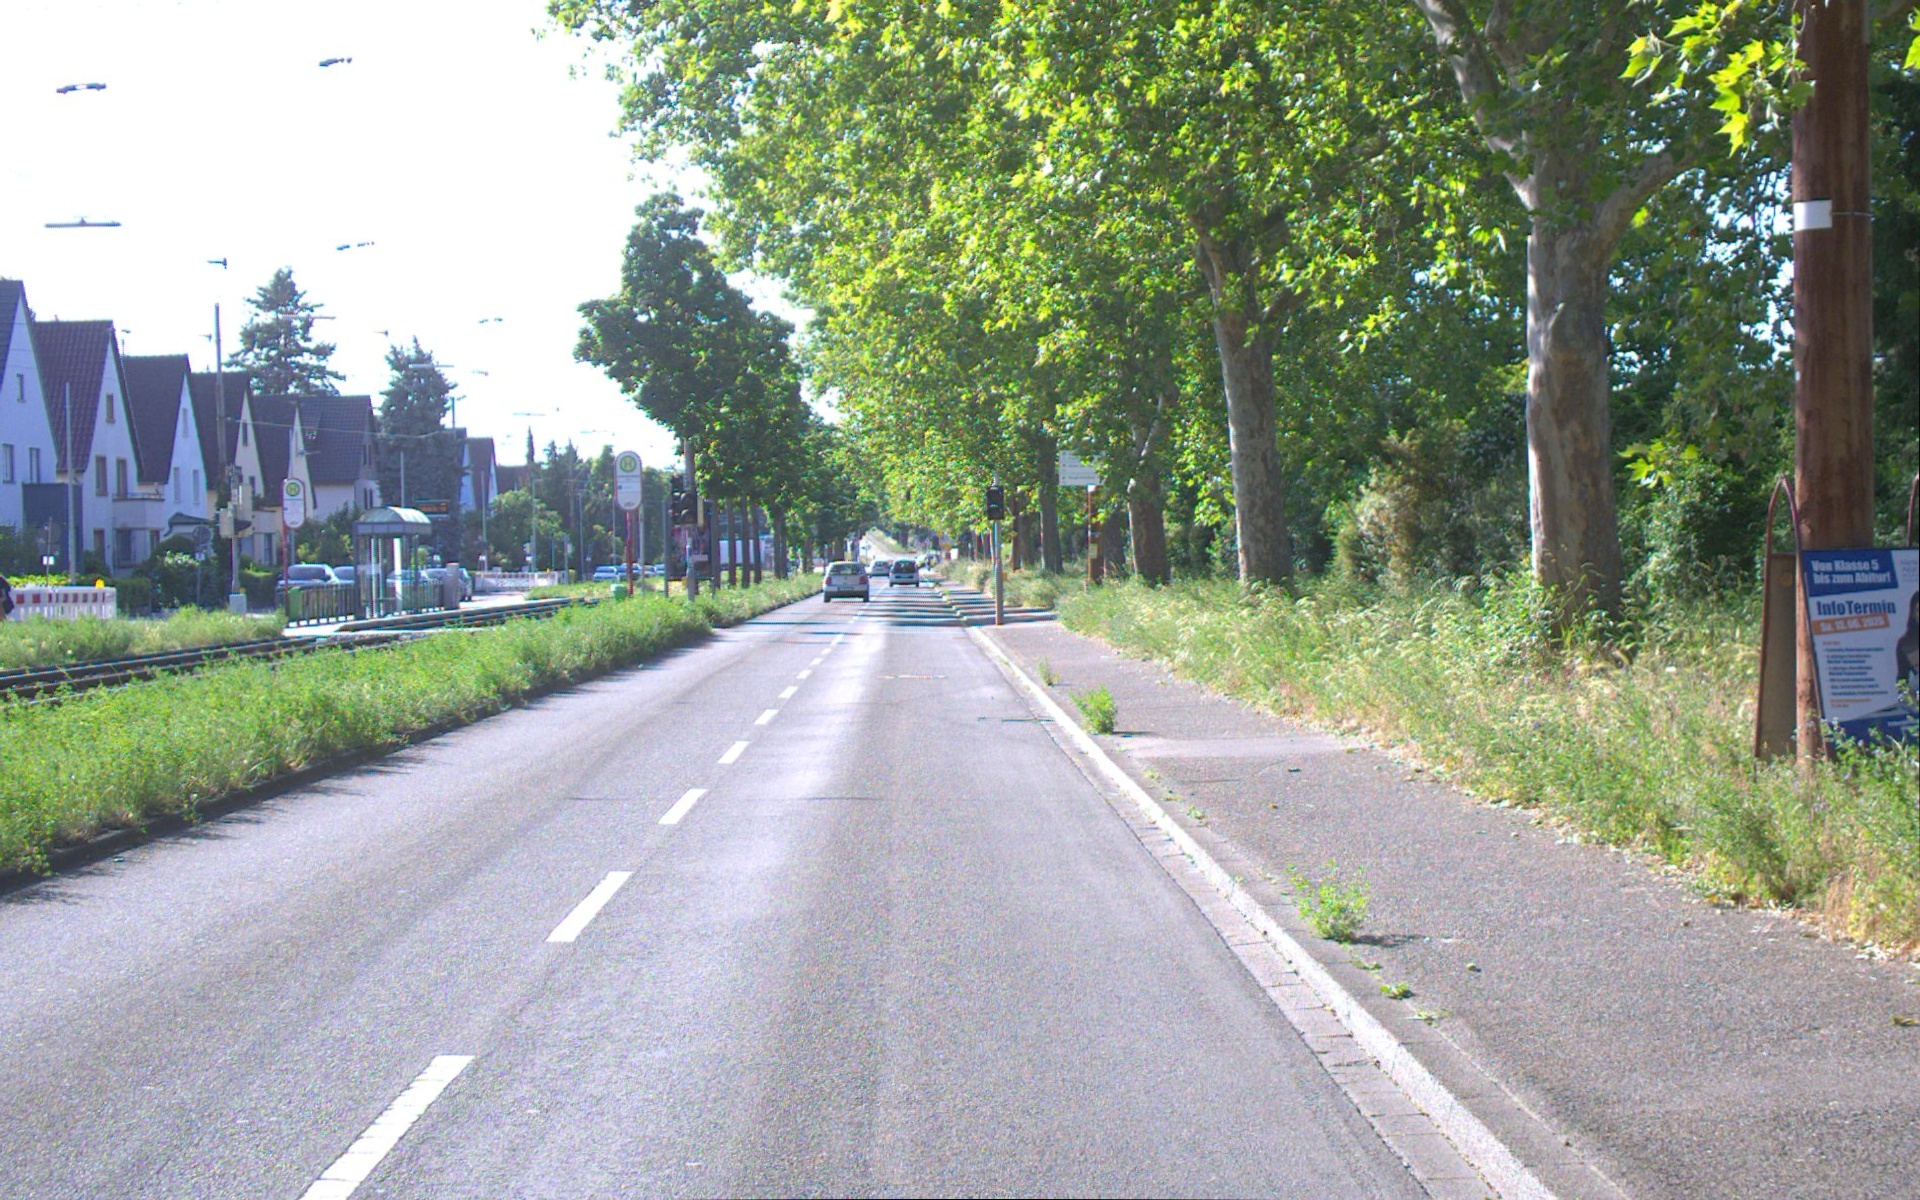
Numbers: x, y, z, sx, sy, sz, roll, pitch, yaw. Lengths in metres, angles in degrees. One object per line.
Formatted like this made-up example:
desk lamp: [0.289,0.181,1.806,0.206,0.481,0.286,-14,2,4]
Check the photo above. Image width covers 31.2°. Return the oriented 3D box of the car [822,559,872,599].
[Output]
car: [-4.016,-0.758,122.547,1.738,1.396,3.277,0,0,-1]

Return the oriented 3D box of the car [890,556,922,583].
car: [-3.012,-1.714,192.049,1.761,1.508,3.277,0,0,0]

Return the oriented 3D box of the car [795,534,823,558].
car: [-9.167,-3.296,209.118,1.527,1.450,3.287,0,0,0]
